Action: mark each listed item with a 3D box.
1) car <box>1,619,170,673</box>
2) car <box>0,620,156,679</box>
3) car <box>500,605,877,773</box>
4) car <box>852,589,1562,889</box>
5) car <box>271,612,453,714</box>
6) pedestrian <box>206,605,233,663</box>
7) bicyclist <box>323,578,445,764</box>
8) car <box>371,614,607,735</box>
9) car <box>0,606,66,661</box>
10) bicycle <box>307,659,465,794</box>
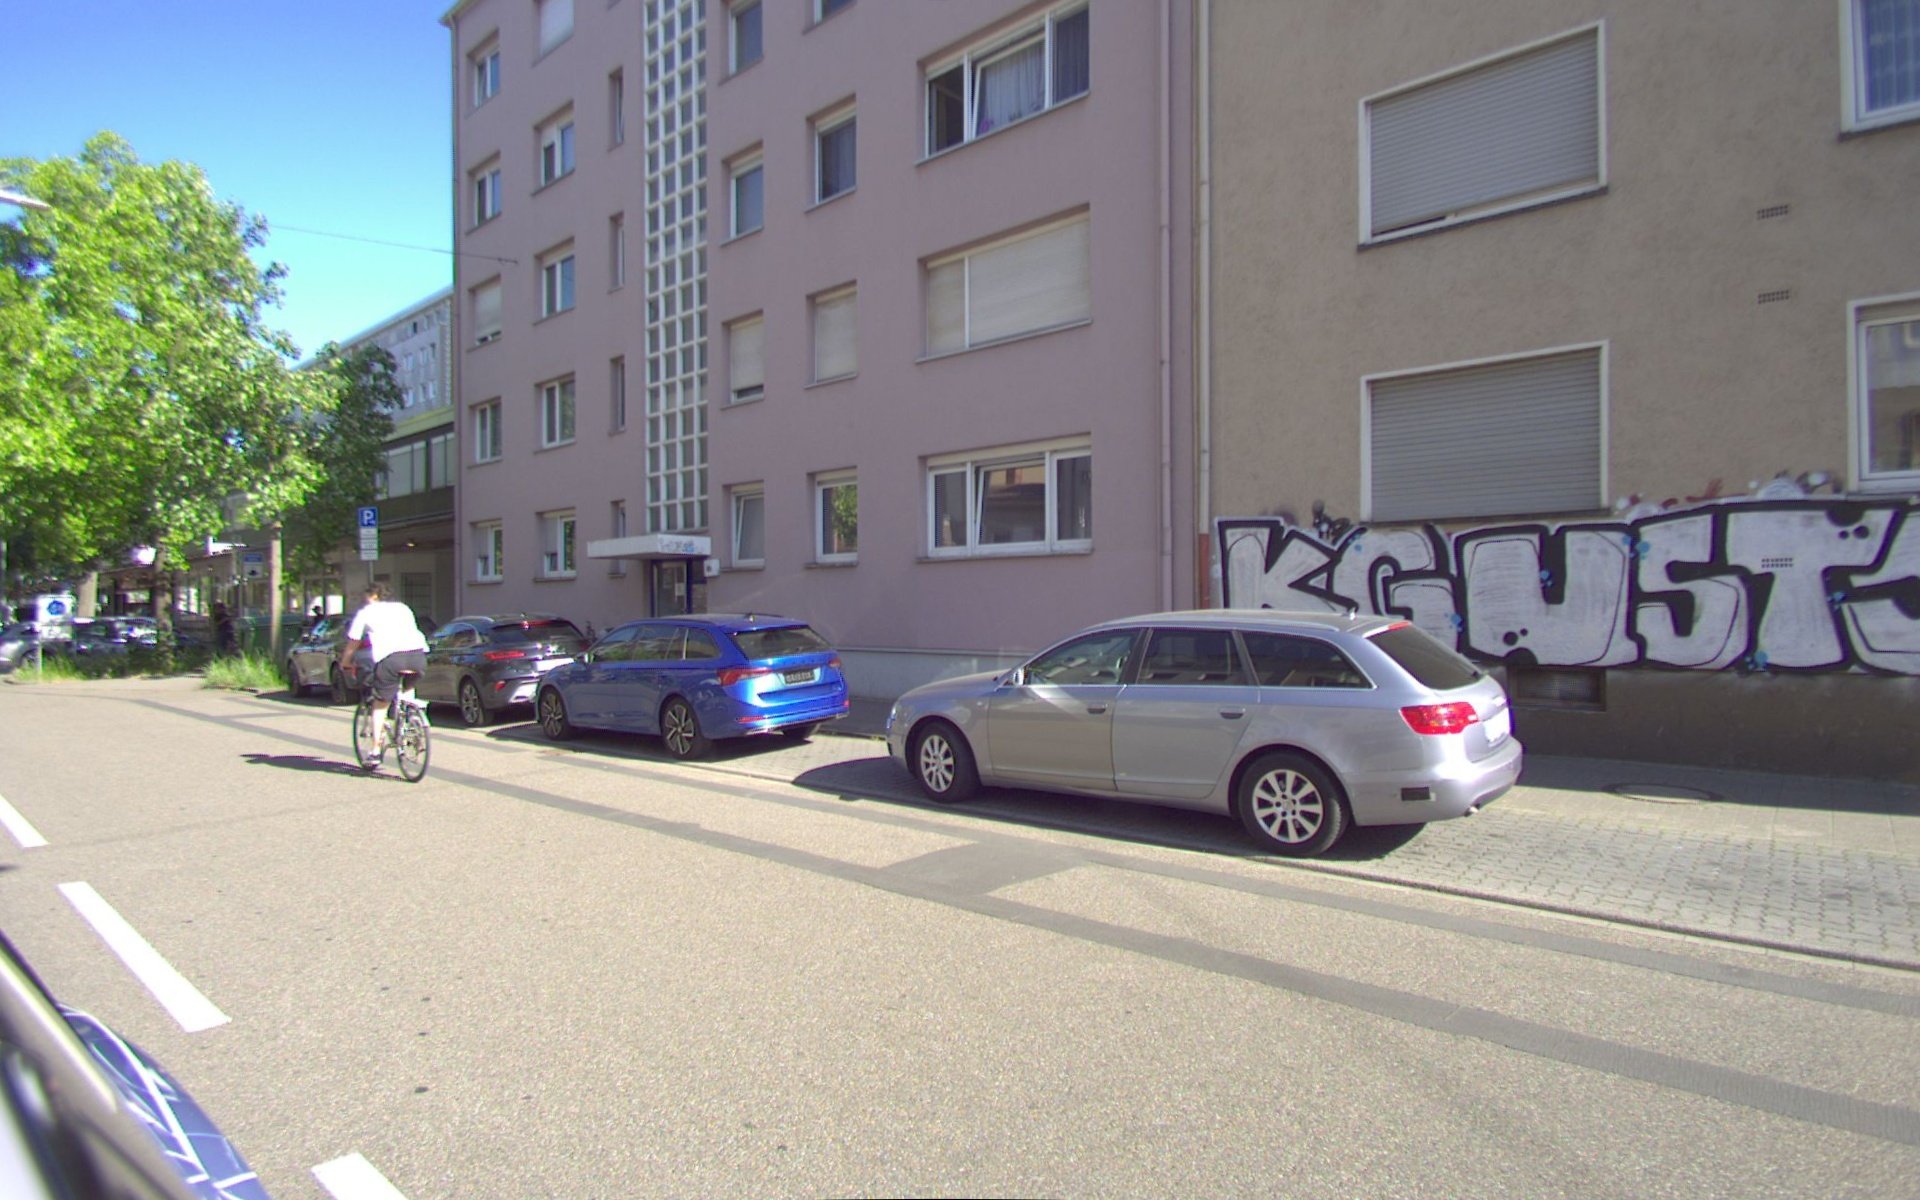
[{"bbox_3d":[-27.916,1.420,32.387,1.913,1.564,3.943,-1,-1,43],"label":"car"},{"bbox_3d":[-26.041,1.388,29.430,1.913,1.564,3.943,-1,-1,43],"label":"car"},{"bbox_3d":[-3.326,0.892,11.820,4.797,1.514,1.805,-1,1,40],"label":"car"},{"bbox_3d":[1.542,0.760,7.509,4.797,1.514,1.805,-1,1,40],"label":"car"},{"bbox_3d":[-11.076,1.078,18.631,4.157,1.588,1.704,-1,1,43],"label":"car"},{"bbox_3d":[-23.564,1.068,32.202,0.502,1.820,0.615,-2,-1,42],"label":"pedestrian"},{"bbox_3d":[-5.379,0.633,9.454,0.945,1.632,0.709,-1,-2,41],"label":"bicyclist"},{"bbox_3d":[-7.117,1.008,15.105,4.157,1.478,1.704,-1,1,43],"label":"car"},{"bbox_3d":[-36.807,1.285,38.668,1.913,2.058,3.824,-1,-1,43],"label":"car"},{"bbox_3d":[-5.401,1.124,9.474,1.871,1.072,0.709,-1,-1,41],"label":"bicycle"}]
